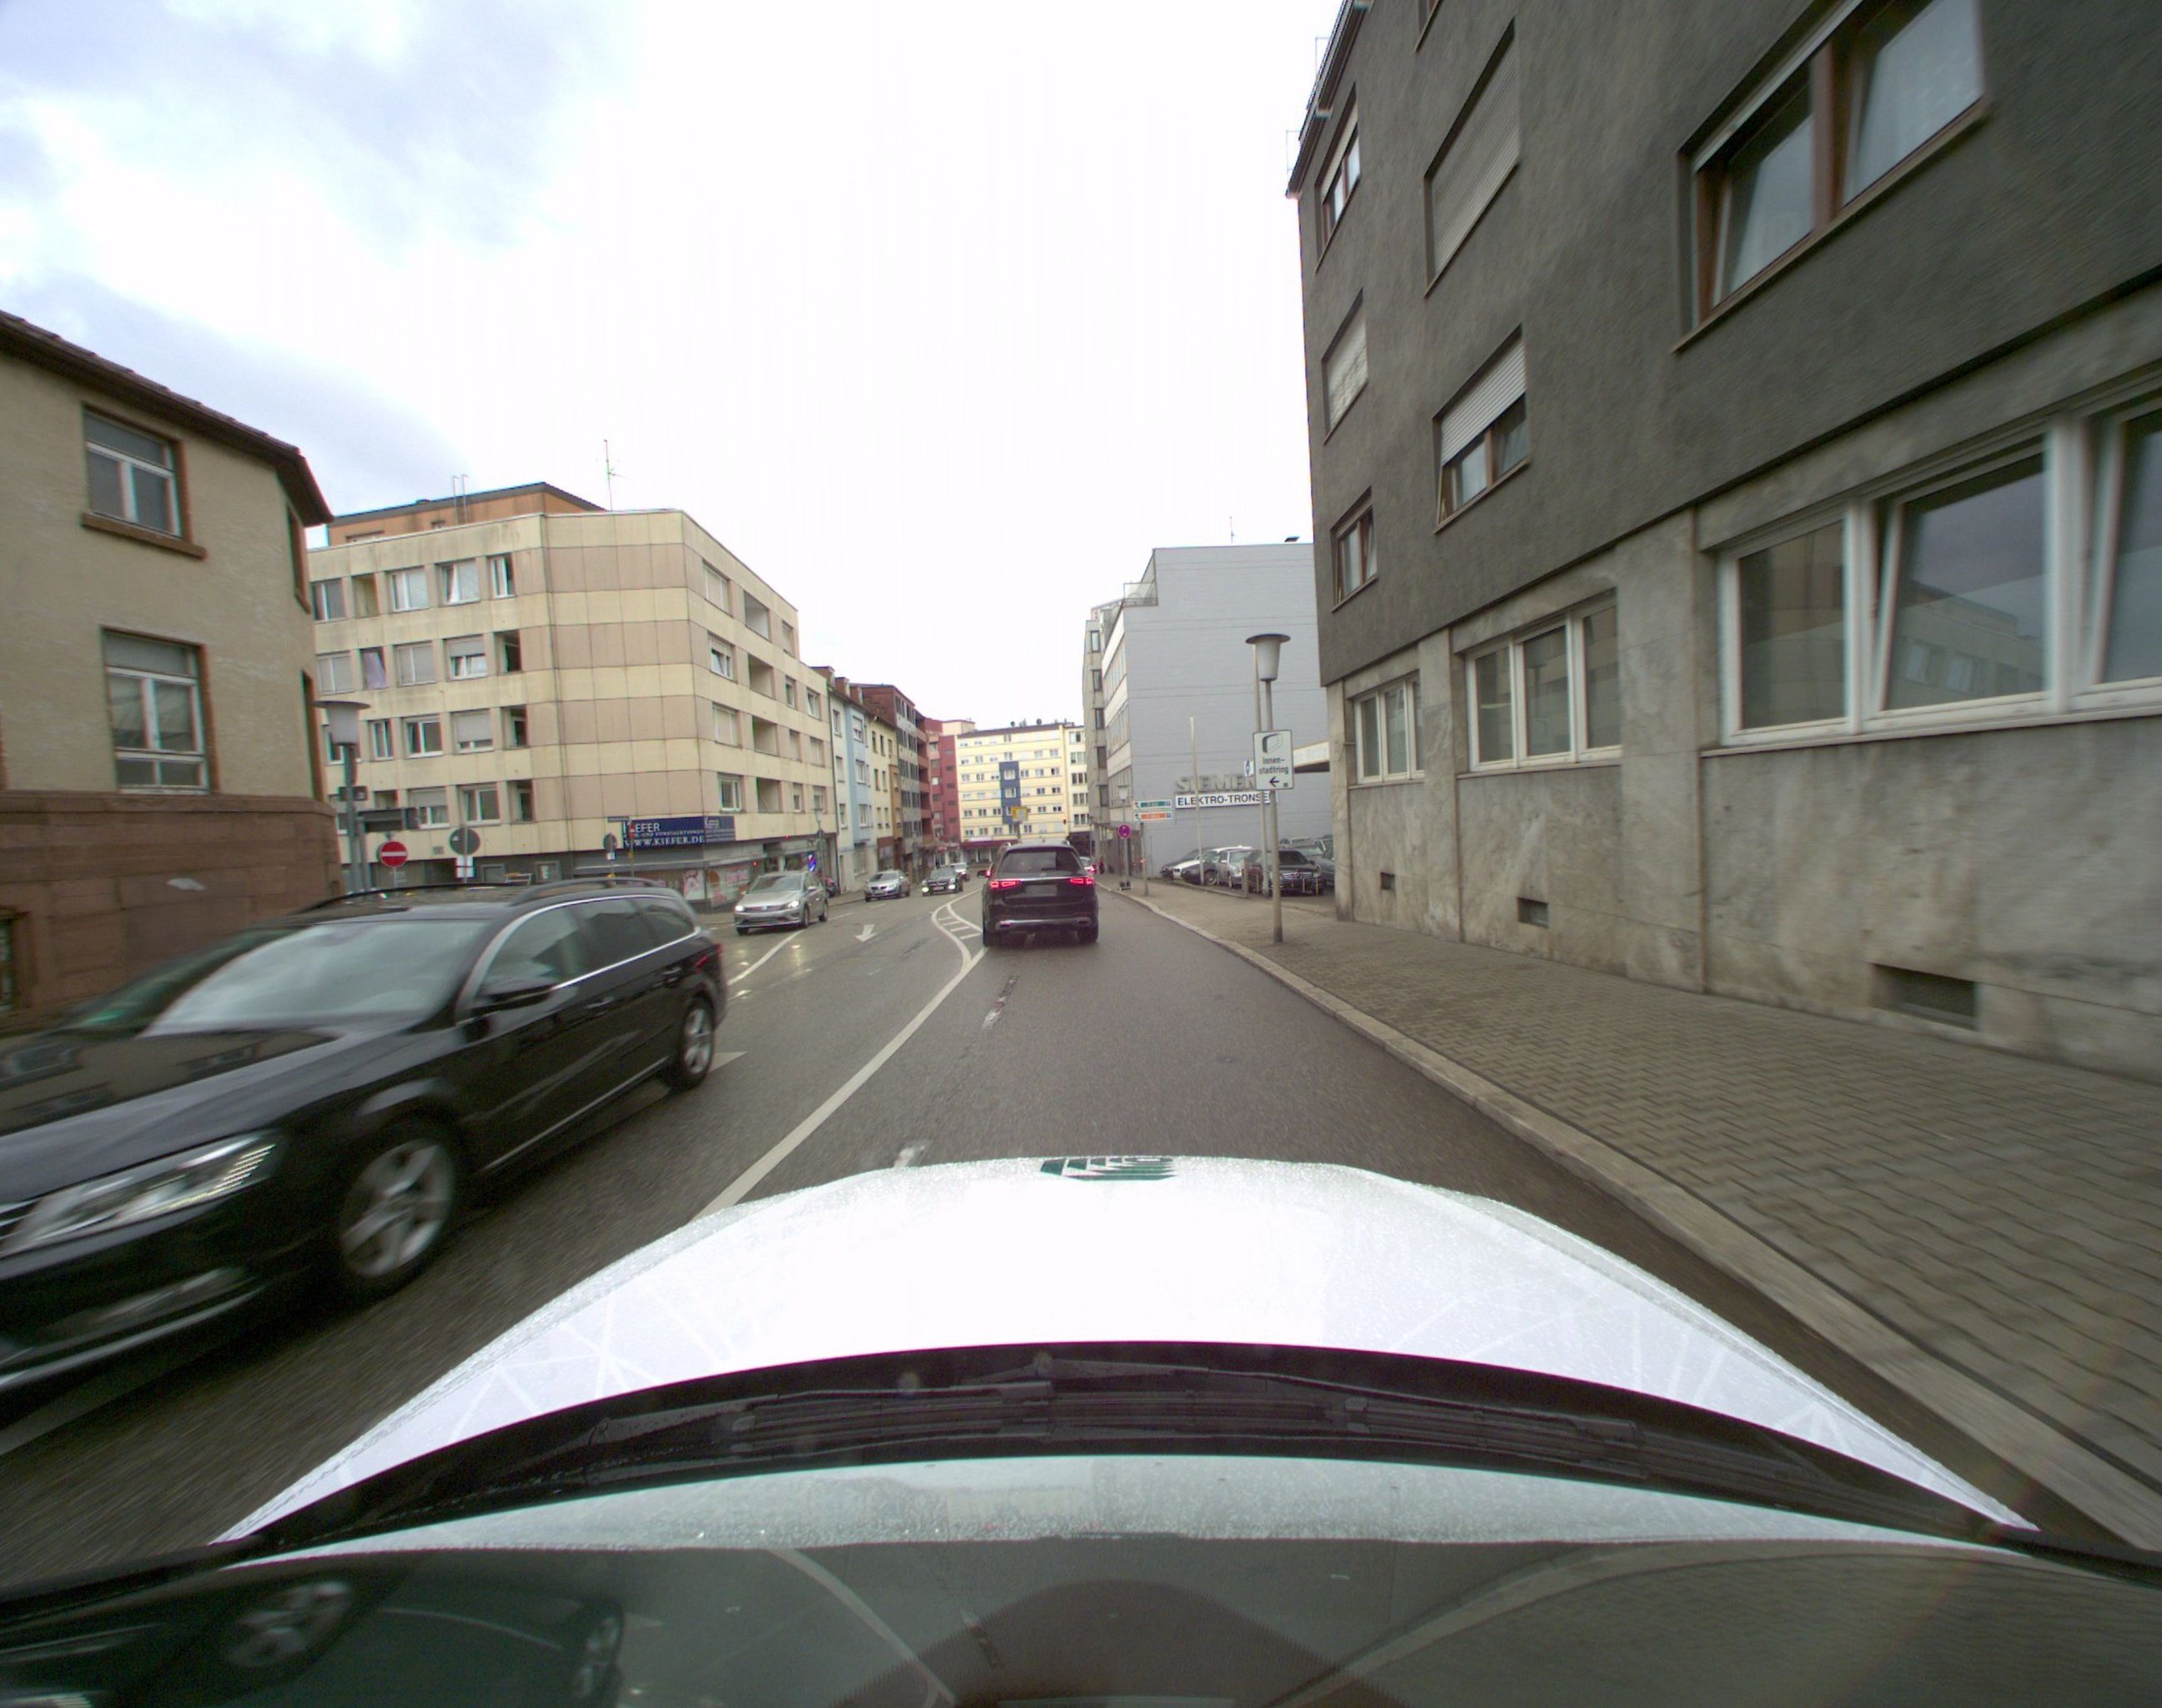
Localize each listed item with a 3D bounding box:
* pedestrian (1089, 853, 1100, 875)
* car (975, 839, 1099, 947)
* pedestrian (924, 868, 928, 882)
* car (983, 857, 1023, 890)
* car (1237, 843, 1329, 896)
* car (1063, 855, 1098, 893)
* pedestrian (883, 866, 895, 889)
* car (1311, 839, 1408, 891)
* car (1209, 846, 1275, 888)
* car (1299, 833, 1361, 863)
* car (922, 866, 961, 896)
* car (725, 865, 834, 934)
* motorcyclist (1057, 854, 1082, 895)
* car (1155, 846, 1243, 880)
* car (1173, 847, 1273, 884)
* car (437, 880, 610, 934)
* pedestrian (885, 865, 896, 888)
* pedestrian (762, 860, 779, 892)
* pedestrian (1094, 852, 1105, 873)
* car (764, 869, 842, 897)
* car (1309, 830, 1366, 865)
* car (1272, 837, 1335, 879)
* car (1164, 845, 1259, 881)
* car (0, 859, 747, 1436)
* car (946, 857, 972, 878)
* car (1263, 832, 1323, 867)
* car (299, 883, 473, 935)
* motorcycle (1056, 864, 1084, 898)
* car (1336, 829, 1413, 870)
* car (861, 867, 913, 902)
[{"bbox_3d":[1.049,0.789,63.627,0.768,1.611,0.703,-3,2,-6],"label":"pedestrian"},{"bbox_3d":[-0.888,0.655,15.801,2.017,1.739,4.740,-1,0,-4],"label":"car"},{"bbox_3d":[-16.491,2.214,86.618,0.317,1.474,0.339,-2,4,2],"label":"pedestrian"},{"bbox_3d":[-3.933,0.964,41.258,1.828,1.461,4.370,-4,0,-6],"label":"car"},{"bbox_3d":[6.342,0.456,26.077,1.791,1.477,4.483,-2,0,-1],"label":"car"},{"bbox_3d":[-0.056,0.892,38.712,1.413,1.651,3.102,-2,0,-4],"label":"car"},{"bbox_3d":[-14.632,1.810,62.076,0.738,1.652,0.605,-3,4,-6],"label":"pedestrian"},{"bbox_3d":[8.907,0.337,26.481,1.789,1.477,4.488,-2,0,3],"label":"car"},{"bbox_3d":[6.188,0.475,31.700,1.562,1.477,4.066,-2,0,-2],"label":"car"},{"bbox_3d":[11.340,-0.261,37.286,1.449,1.202,3.383,-1,-2,-7],"label":"car"},{"bbox_3d":[-7.120,1.363,41.823,1.713,1.317,4.133,-3,0,-7],"label":"car"},{"bbox_3d":[-8.188,1.188,22.489,1.713,1.586,4.134,-5,-1,-6],"label":"car"},{"bbox_3d":[-0.454,0.815,31.983,0.865,1.560,0.762,-3,-2,-6],"label":"motorcyclist"},{"bbox_3d":[5.915,0.447,40.928,4.002,1.597,1.786,-1,-2,-21],"label":"car"},{"bbox_3d":[6.227,0.515,35.807,4.002,1.495,1.720,-1,-2,-22],"label":"car"},{"bbox_3d":[-17.529,1.654,25.701,4.308,1.512,1.902,-2,-1,8],"label":"car"},{"bbox_3d":[-14.715,1.740,62.945,0.670,1.652,0.605,-3,4,-6],"label":"pedestrian"},{"bbox_3d":[-17.209,1.207,45.149,0.598,1.729,0.571,-3,4,-6],"label":"pedestrian"},{"bbox_3d":[1.468,0.640,64.406,0.716,1.611,0.609,-3,2,-6],"label":"pedestrian"},{"bbox_3d":[-16.496,1.724,48.448,3.980,1.499,1.796,-2,-1,-5],"label":"car"},{"bbox_3d":[13.133,-0.303,41.840,1.449,1.597,3.383,-1,-2,-7],"label":"car"},{"bbox_3d":[8.692,0.204,32.002,1.522,1.512,3.391,-2,-2,0],"label":"car"},{"bbox_3d":[6.134,0.427,38.317,4.002,1.597,1.786,-1,-2,-21],"label":"car"},{"bbox_3d":[-3.424,0.865,4.335,1.720,1.516,4.362,-3,-1,-5],"label":"car"},{"bbox_3d":[-11.520,1.262,77.040,1.866,1.753,4.393,-5,0,-3],"label":"car"},{"bbox_3d":[10.882,-0.197,42.047,1.643,1.597,3.857,-1,-2,-7],"label":"car"},{"bbox_3d":[-22.706,1.787,26.680,4.308,1.512,1.902,-2,-1,8],"label":"car"},{"bbox_3d":[-0.469,1.026,31.984,0.866,1.186,2.557,-3,0,-5],"label":"motorcycle"},{"bbox_3d":[11.826,-0.147,33.048,1.549,1.512,3.513,-1,-2,-5],"label":"car"},{"bbox_3d":[-10.047,1.541,42.462,1.741,1.539,4.636,-5,-1,-4],"label":"car"}]
